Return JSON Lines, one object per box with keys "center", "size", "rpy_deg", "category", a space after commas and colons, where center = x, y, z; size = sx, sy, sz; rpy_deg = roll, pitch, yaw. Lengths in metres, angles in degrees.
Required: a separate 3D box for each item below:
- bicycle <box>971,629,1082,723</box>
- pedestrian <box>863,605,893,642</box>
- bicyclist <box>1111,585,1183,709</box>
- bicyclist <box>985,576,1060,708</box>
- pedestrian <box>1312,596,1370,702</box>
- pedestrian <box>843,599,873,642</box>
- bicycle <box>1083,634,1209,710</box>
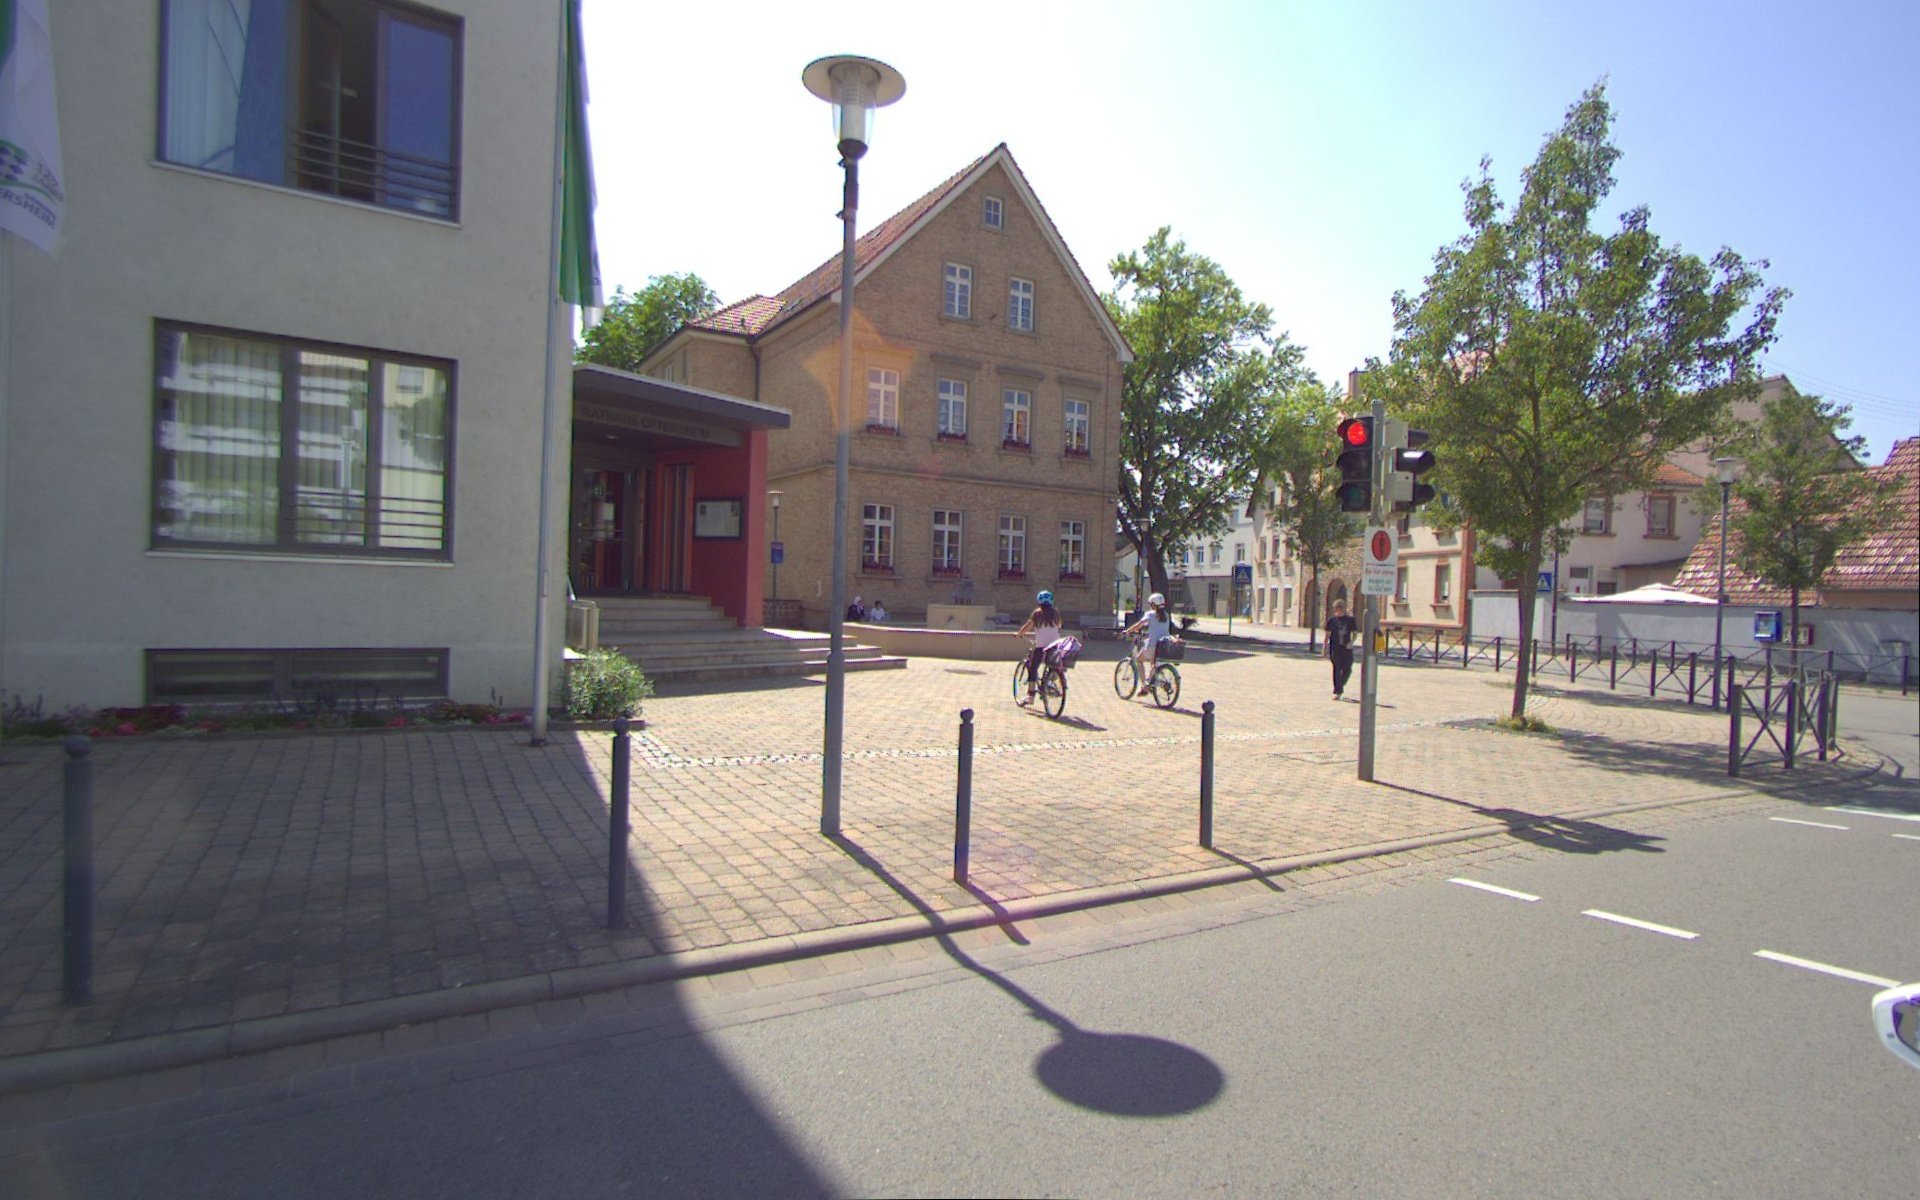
{"center": [0.794, 0.917, 12.580], "size": [0.666, 0.971, 1.887], "rpy_deg": [2, 1, -19], "category": "bicycle"}
{"center": [-2.362, 0.673, 28.877], "size": [0.611, 1.041, 0.636], "rpy_deg": [2, 0, -29], "category": "pedestrian"}
{"center": [2.624, 0.646, 14.133], "size": [0.663, 1.686, 0.755], "rpy_deg": [1, -1, -31], "category": "bicyclist"}
{"center": [0.780, 0.514, 12.625], "size": [0.661, 1.603, 0.758], "rpy_deg": [1, 0, -20], "category": "bicyclist"}
{"center": [6.337, 0.794, 16.754], "size": [0.798, 1.676, 0.851], "rpy_deg": [3, 1, 19], "category": "pedestrian"}
{"center": [-2.875, 0.575, 28.400], "size": [0.611, 1.186, 0.636], "rpy_deg": [2, 0, -29], "category": "pedestrian"}
{"center": [2.587, 0.987, 14.191], "size": [0.668, 0.970, 1.880], "rpy_deg": [1, -1, -31], "category": "bicycle"}
